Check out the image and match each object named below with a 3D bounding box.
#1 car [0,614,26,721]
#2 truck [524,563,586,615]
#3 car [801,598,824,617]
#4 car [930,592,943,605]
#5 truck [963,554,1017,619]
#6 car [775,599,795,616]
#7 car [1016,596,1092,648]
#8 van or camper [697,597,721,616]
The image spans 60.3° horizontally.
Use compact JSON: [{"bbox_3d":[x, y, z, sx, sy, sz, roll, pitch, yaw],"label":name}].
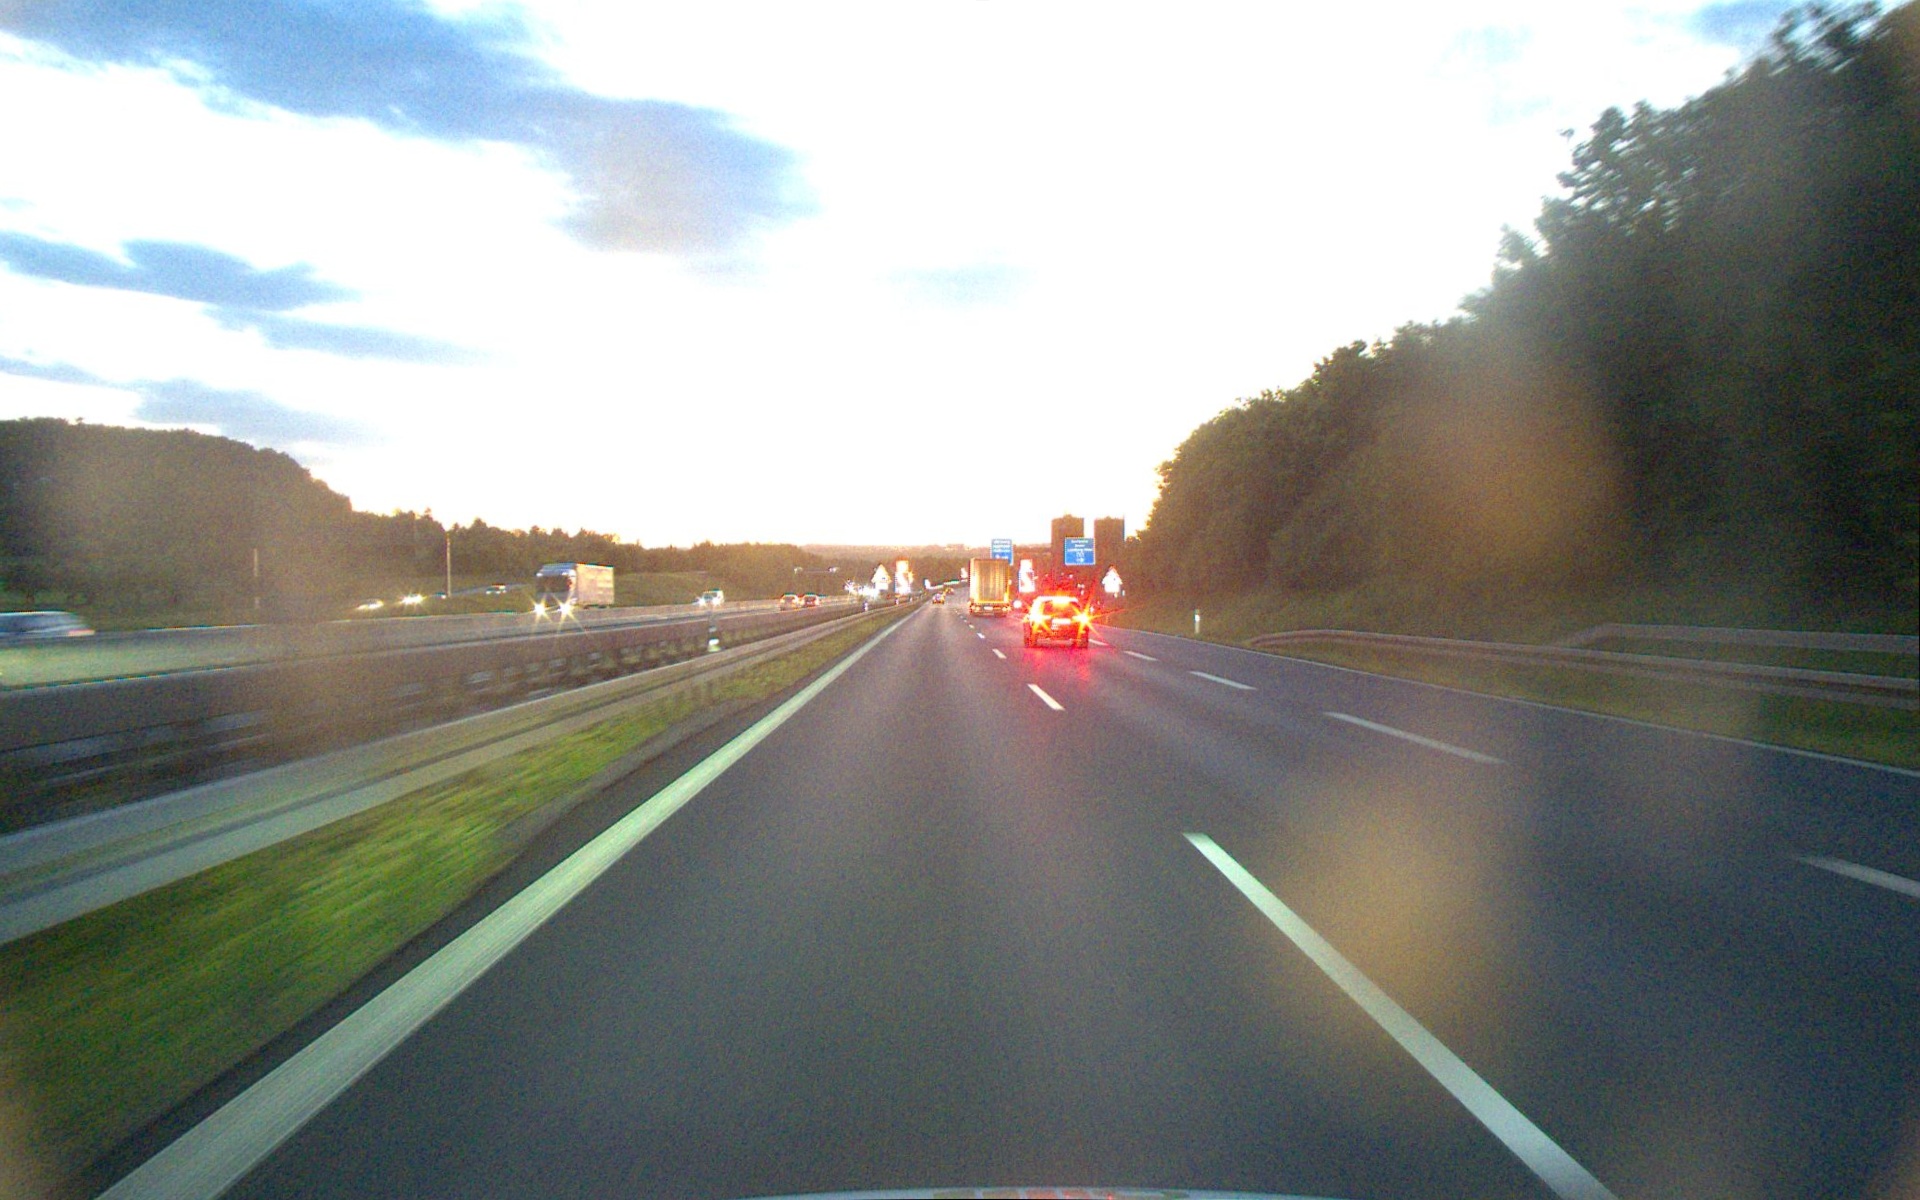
[{"bbox_3d":[-15.232,1.032,23.089,1.834,1.588,4.519,-1,0,-1],"label":"car"},{"bbox_3d":[-29.770,-0.809,121.856,3.243,3.682,5.496,-1,0,-1],"label":"truck"},{"bbox_3d":[-13.201,0.650,148.136,1.678,1.634,3.721,-1,0,-1],"label":"car"},{"bbox_3d":[-3.725,-0.182,262.166,1.953,2.049,3.999,-1,0,-1],"label":"car"},{"bbox_3d":[2.087,-0.922,119.821,3.439,4.376,9.888,-1,0,-1],"label":"truck"},{"bbox_3d":[-17.389,0.757,164.507,1.604,1.573,3.394,-1,0,-1],"label":"car"},{"bbox_3d":[2.777,0.643,49.712,1.876,1.467,3.998,-1,0,-2],"label":"car"},{"bbox_3d":[-26.481,0.662,174.758,1.852,1.940,5.538,0,0,-2],"label":"van or camper"}]
